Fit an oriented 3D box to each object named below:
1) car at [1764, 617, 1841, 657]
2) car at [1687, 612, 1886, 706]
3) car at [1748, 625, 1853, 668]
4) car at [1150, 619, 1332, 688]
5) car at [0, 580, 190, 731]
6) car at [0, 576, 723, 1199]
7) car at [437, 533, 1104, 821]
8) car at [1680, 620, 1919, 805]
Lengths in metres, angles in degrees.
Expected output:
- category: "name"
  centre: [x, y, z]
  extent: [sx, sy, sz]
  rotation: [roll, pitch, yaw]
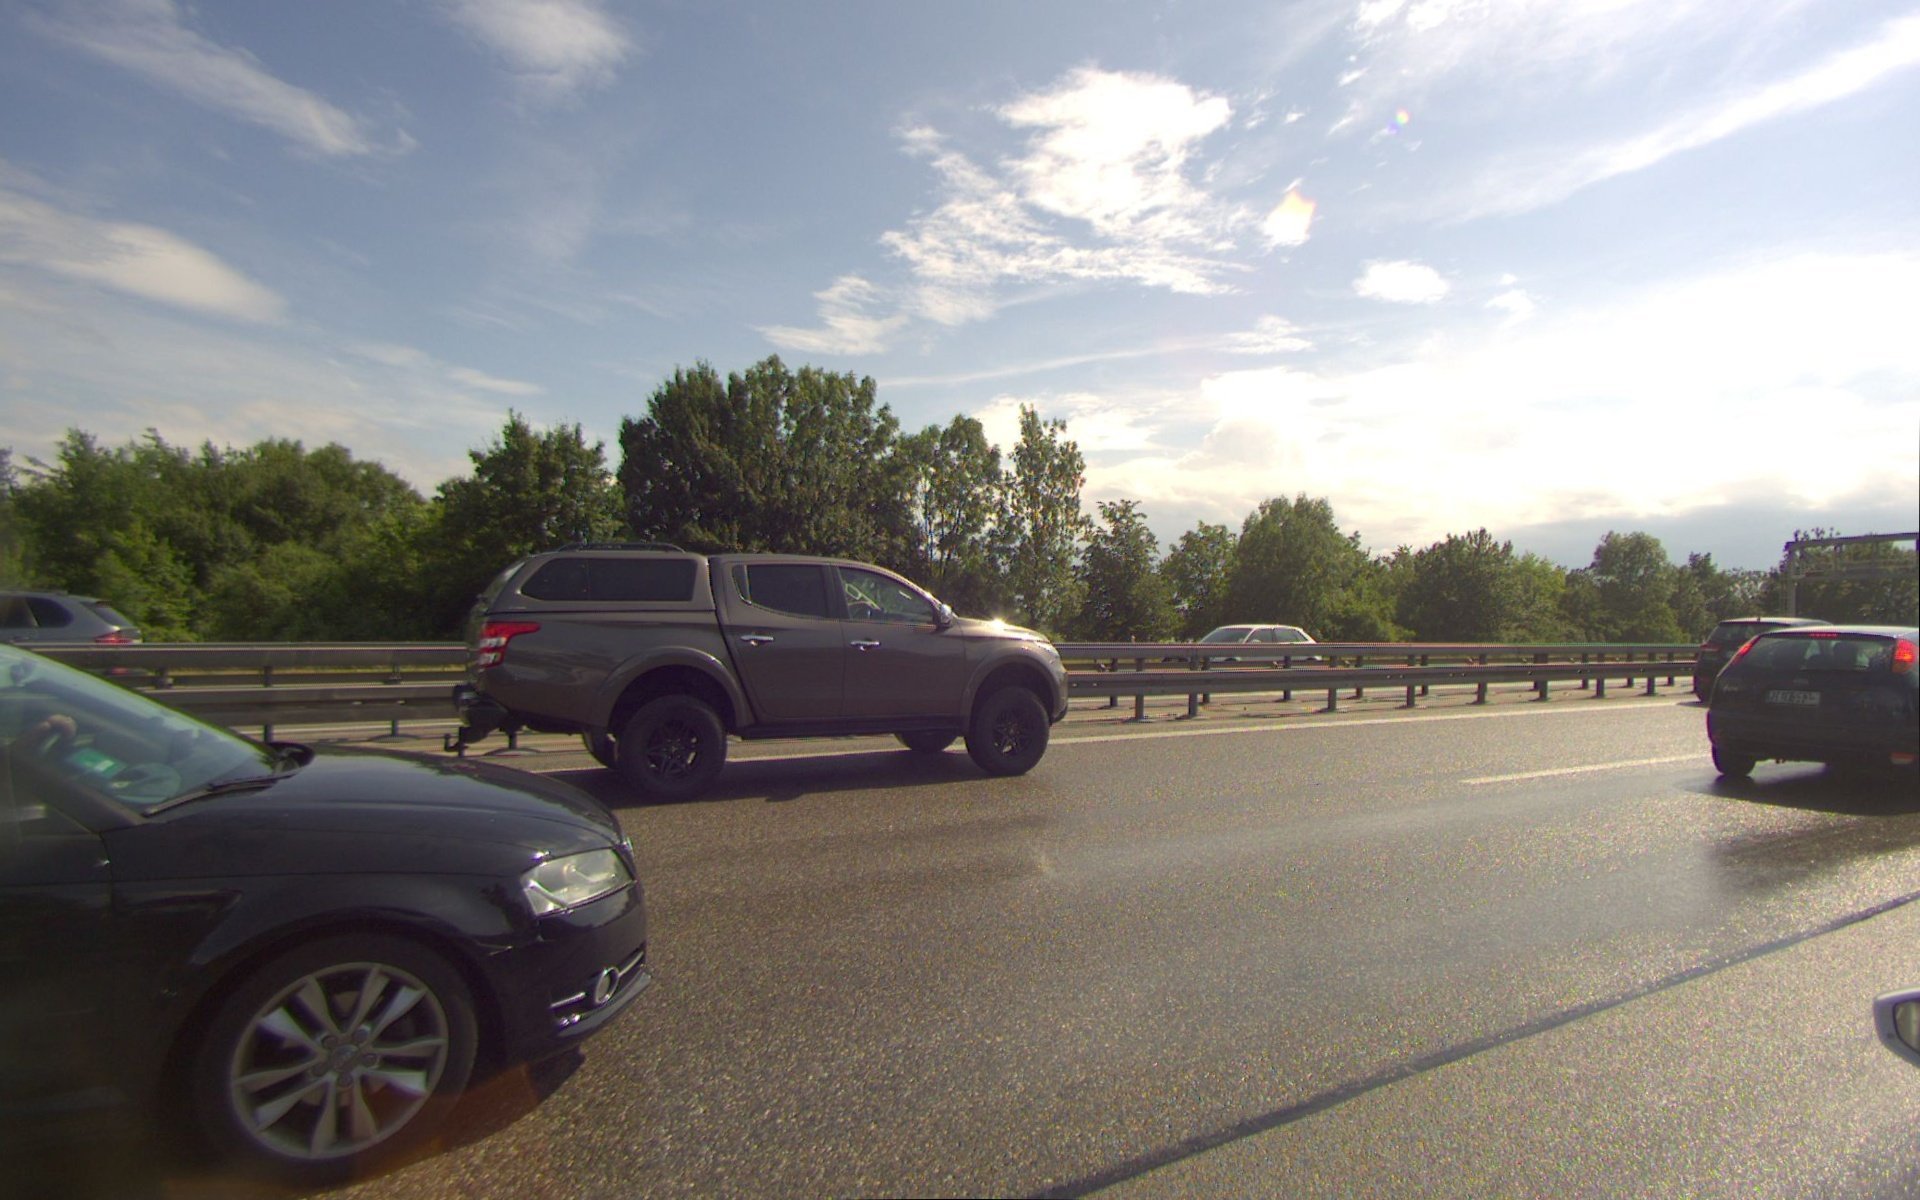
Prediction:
- category: "car"
  centre: [45.252, 1.969, 53.940]
  extent: [4.315, 2.040, 1.982]
  rotation: [1, 0, -33]
- category: "car"
  centre: [15.648, 1.057, 18.979]
  extent: [3.872, 1.599, 1.773]
  rotation: [1, 0, -32]
- category: "car"
  centre: [30.213, 1.652, 36.068]
  extent: [3.953, 1.461, 1.659]
  rotation: [1, -1, -30]
- category: "car"
  centre: [6.466, 1.196, 23.023]
  extent: [3.957, 1.409, 1.851]
  rotation: [2, 0, -33]
- category: "car"
  centre: [-14.085, 0.729, 14.047]
  extent: [5.020, 2.040, 1.842]
  rotation: [2, 0, -31]
- category: "car"
  centre: [-2.855, 0.664, 2.703]
  extent: [4.004, 1.452, 1.743]
  rotation: [1, 0, -29]
- category: "car"
  centre: [-1.441, 0.547, 8.645]
  extent: [5.354, 1.869, 1.798]
  rotation: [1, 0, -30]
- category: "car"
  centre: [9.029, 0.959, 9.833]
  extent: [3.953, 1.462, 1.750]
  rotation: [1, 0, -30]
